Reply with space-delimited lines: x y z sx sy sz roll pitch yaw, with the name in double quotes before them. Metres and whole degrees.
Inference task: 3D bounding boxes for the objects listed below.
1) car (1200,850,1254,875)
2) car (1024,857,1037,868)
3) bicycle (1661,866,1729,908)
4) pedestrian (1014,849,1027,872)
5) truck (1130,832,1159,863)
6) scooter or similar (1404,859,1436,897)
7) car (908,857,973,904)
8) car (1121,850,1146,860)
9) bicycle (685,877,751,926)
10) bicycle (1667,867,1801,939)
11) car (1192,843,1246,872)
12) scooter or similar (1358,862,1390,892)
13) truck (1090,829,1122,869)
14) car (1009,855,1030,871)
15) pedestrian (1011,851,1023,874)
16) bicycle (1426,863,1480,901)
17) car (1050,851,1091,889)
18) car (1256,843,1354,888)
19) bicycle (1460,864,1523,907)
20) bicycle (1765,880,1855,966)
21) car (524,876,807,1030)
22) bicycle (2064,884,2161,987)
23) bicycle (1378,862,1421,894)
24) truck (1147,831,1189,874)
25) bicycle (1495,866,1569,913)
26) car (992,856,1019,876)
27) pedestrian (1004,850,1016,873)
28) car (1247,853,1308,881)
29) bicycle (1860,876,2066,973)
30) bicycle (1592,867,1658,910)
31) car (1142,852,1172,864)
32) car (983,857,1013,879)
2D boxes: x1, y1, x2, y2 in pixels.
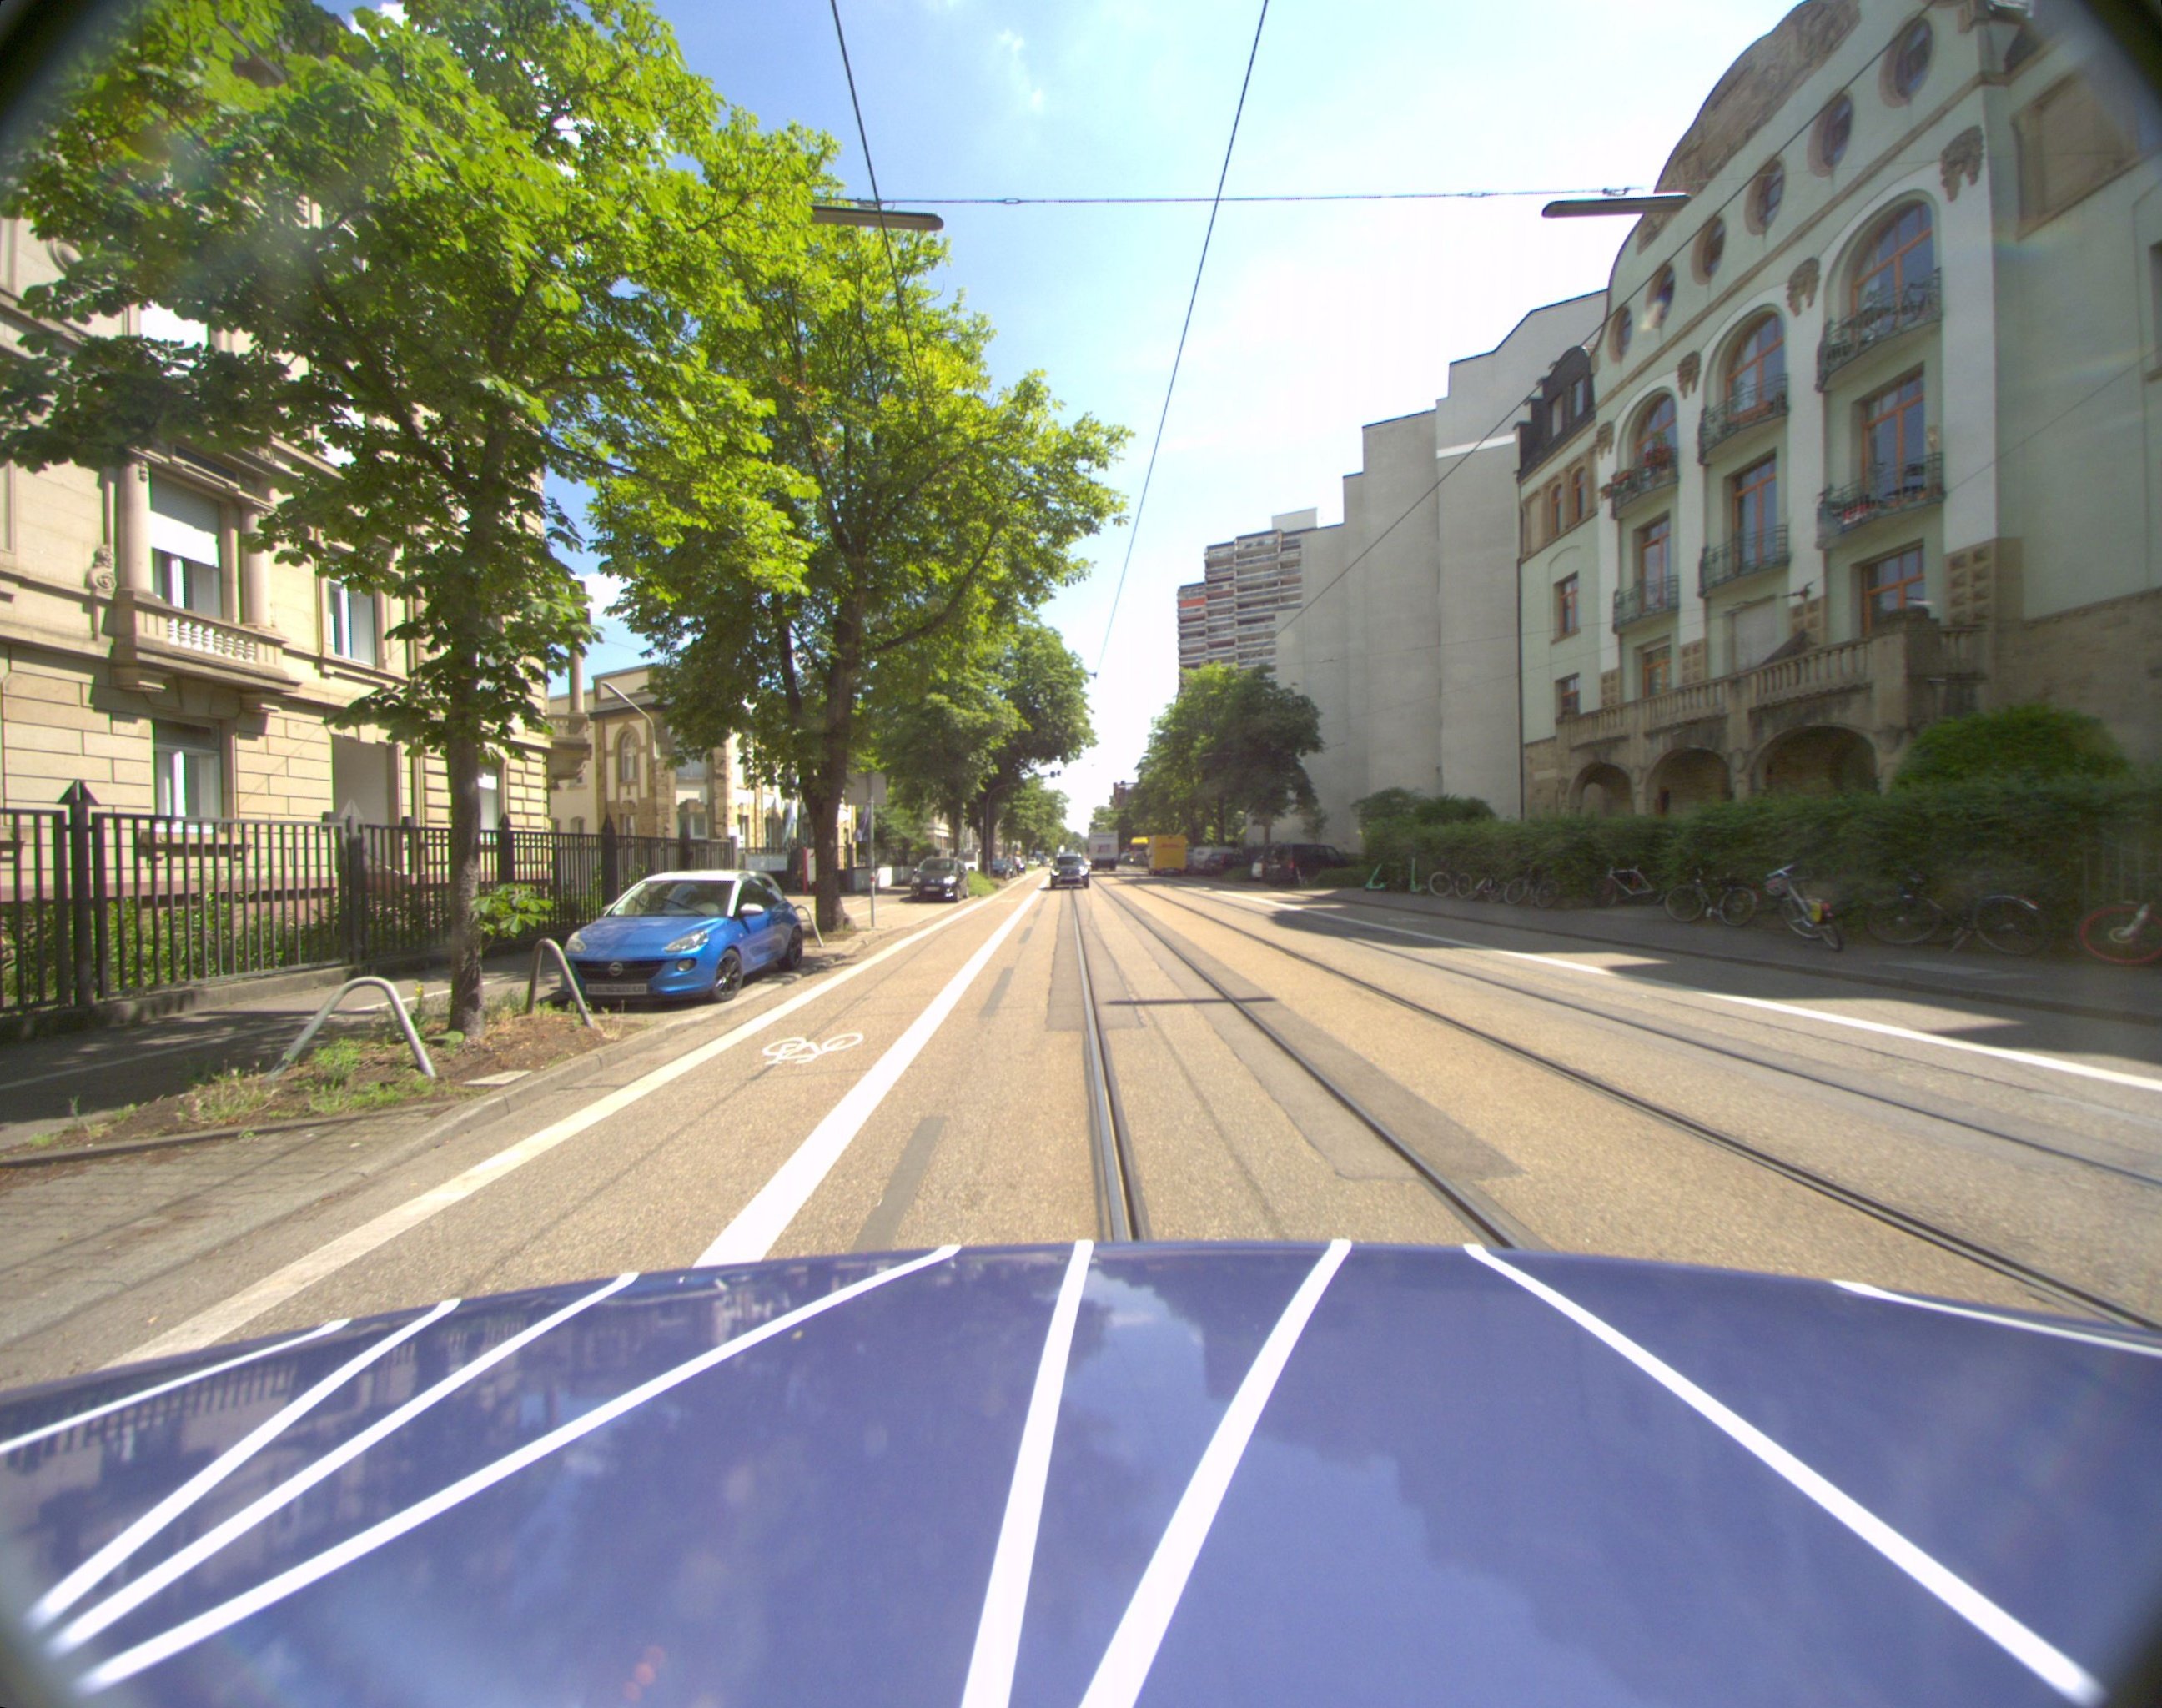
"car" 9.839 0.557 51.067 3.692 1.566 1.678 -1 1 -43
"car" -6.893 1.134 103.845 1.626 1.395 3.999 1 0 -1
"bicycle" 13.521 0.726 16.729 1.208 0.903 0.340 -1 1 1
"pedestrian" -4.885 0.544 61.462 0.741 1.839 0.645 -1 1 -35
"truck" 9.306 -0.948 109.969 2.672 4.155 10.482 -1 0 13
"scooter or similar" 10.519 0.736 23.583 0.407 1.113 1.291 -1 0 1
"car" -5.185 0.933 28.512 1.734 1.606 4.083 1 0 -1
"car" 9.641 0.146 140.068 4.337 1.797 1.995 -1 0 -33
"bicycle" -8.822 1.136 18.564 0.609 1.065 1.980 -1 0 1
"bicycle" 10.814 0.776 12.673 0.609 1.026 1.771 -5 0 -1
"car" 9.919 0.226 54.574 4.061 2.030 1.598 -1 1 -41
"scooter or similar" 10.440 0.803 27.081 0.407 1.014 1.222 -1 0 -17
"truck" 2.327 -0.434 73.556 2.792 3.598 8.255 -1 0 0
"car" -5.613 0.823 69.690 1.626 1.395 3.999 1 0 -1
"pedestrian" -5.046 0.678 59.878 0.645 1.839 0.741 -1 1 17
"bicycle" 10.634 0.777 21.783 0.609 0.983 1.707 -5 0 -1
"car" -0.493 0.721 36.302 1.753 1.641 4.297 -3 0 -1
"car" 10.319 0.472 34.832 4.595 1.914 1.957 -1 1 -38
"bicycle" 10.633 0.799 19.745 0.609 0.983 1.707 -5 0 -1
"bicycle" 9.853 0.882 10.323 0.608 0.993 1.778 -1 1 35
"car" -4.897 1.069 9.554 1.695 1.444 3.473 -1 0 -2
"bicycle" 10.900 0.821 7.376 0.414 0.960 1.725 -5 0 -1
"bicycle" 10.543 0.782 25.196 0.609 0.983 1.707 -5 0 -1
"truck" 6.215 -0.099 55.181 2.306 2.903 6.515 -1 0 0
"bicycle" 10.570 0.810 17.879 0.609 0.970 1.771 -5 0 -1
"car" -5.625 0.875 56.731 1.626 1.395 3.999 1 0 -1
"pedestrian" -5.653 0.585 60.352 0.645 1.839 0.741 -1 1 25
"car" 10.771 0.680 41.544 1.721 1.445 3.635 -1 0 43
"bicycle" 10.695 0.814 9.308 0.465 0.993 1.707 -5 0 -1
"bicycle" 11.937 0.761 16.685 1.208 0.903 0.340 -1 1 1
"car" 9.129 0.482 90.781 1.678 1.445 3.682 -1 0 43
"car" -5.444 0.901 50.292 1.626 1.395 3.822 1 0 -1
